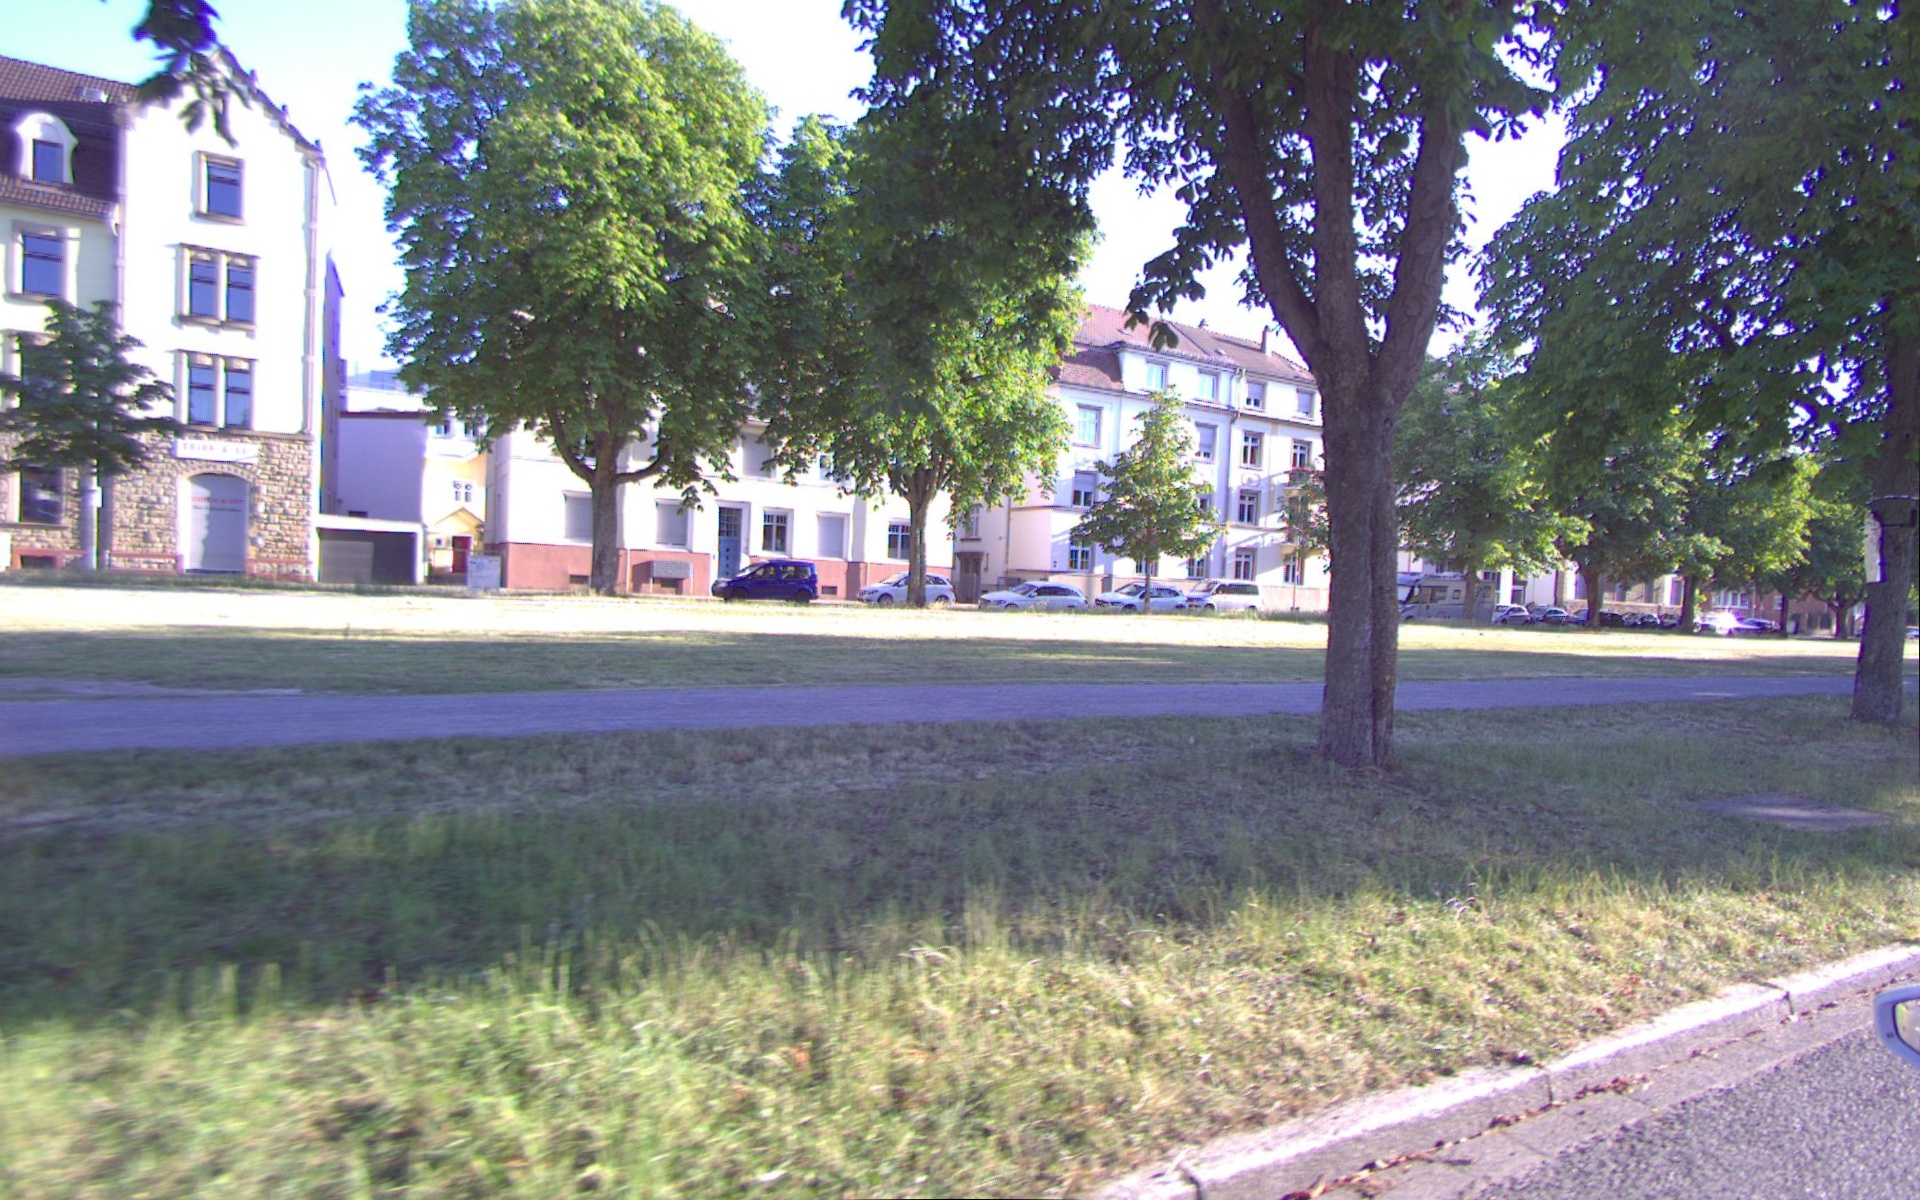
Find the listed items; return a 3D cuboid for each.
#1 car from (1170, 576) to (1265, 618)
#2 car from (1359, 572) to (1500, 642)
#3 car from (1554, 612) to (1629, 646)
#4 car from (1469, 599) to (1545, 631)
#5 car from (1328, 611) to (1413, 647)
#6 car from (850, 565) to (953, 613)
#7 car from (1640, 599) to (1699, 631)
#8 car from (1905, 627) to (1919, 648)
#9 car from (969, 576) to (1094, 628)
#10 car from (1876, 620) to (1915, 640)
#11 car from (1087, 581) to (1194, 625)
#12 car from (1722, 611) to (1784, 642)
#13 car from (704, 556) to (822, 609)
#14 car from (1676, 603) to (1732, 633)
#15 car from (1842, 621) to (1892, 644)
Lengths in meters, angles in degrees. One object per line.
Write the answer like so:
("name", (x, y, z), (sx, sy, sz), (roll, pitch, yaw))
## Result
("car", (13.665, -0.136, 53.265), (4.821, 1.976, 1.983), (2, 2, -31))
("car", (24.625, 0.386, 52.577), (7.758, 3.173, 2.381), (2, 4, -29))
("car", (37.946, 1.760, 60.312), (4.263, 1.696, 1.871), (3, 3, -29))
("car", (35.929, 1.006, 65.967), (5.102, 1.712, 1.983), (3, 3, -32))
("car", (23.760, 1.691, 58.137), (4.514, 1.681, 1.985), (4, 3, -28))
("car", (-2.541, -0.473, 43.776), (3.950, 1.681, 1.985), (4, 3, -28))
("car", (53.196, 1.103, 75.297), (3.955, 2.040, 1.983), (3, 3, -31))
("car", (81.937, 3.269, 84.703), (3.936, 1.681, 2.014), (3, 3, -29))
("car", (2.879, 0.102, 40.318), (4.514, 1.681, 1.985), (4, 3, -28))
("car", (90.383, 2.877, 97.006), (3.811, 1.665, 1.631), (3, 3, -31))
("car", (7.748, 0.127, 43.008), (4.369, 1.575, 1.786), (2, 4, -31))
("car", (55.353, 1.822, 70.093), (4.072, 1.804, 1.803), (3, 3, -29))
("car", (-8.043, -0.694, 41.003), (4.258, 1.759, 1.985), (4, 3, -28))
("car", (58.094, 1.418, 78.391), (3.955, 2.040, 1.983), (3, 3, -31))
("car", (83.584, 2.998, 92.558), (4.301, 1.681, 1.985), (4, 3, -28))
